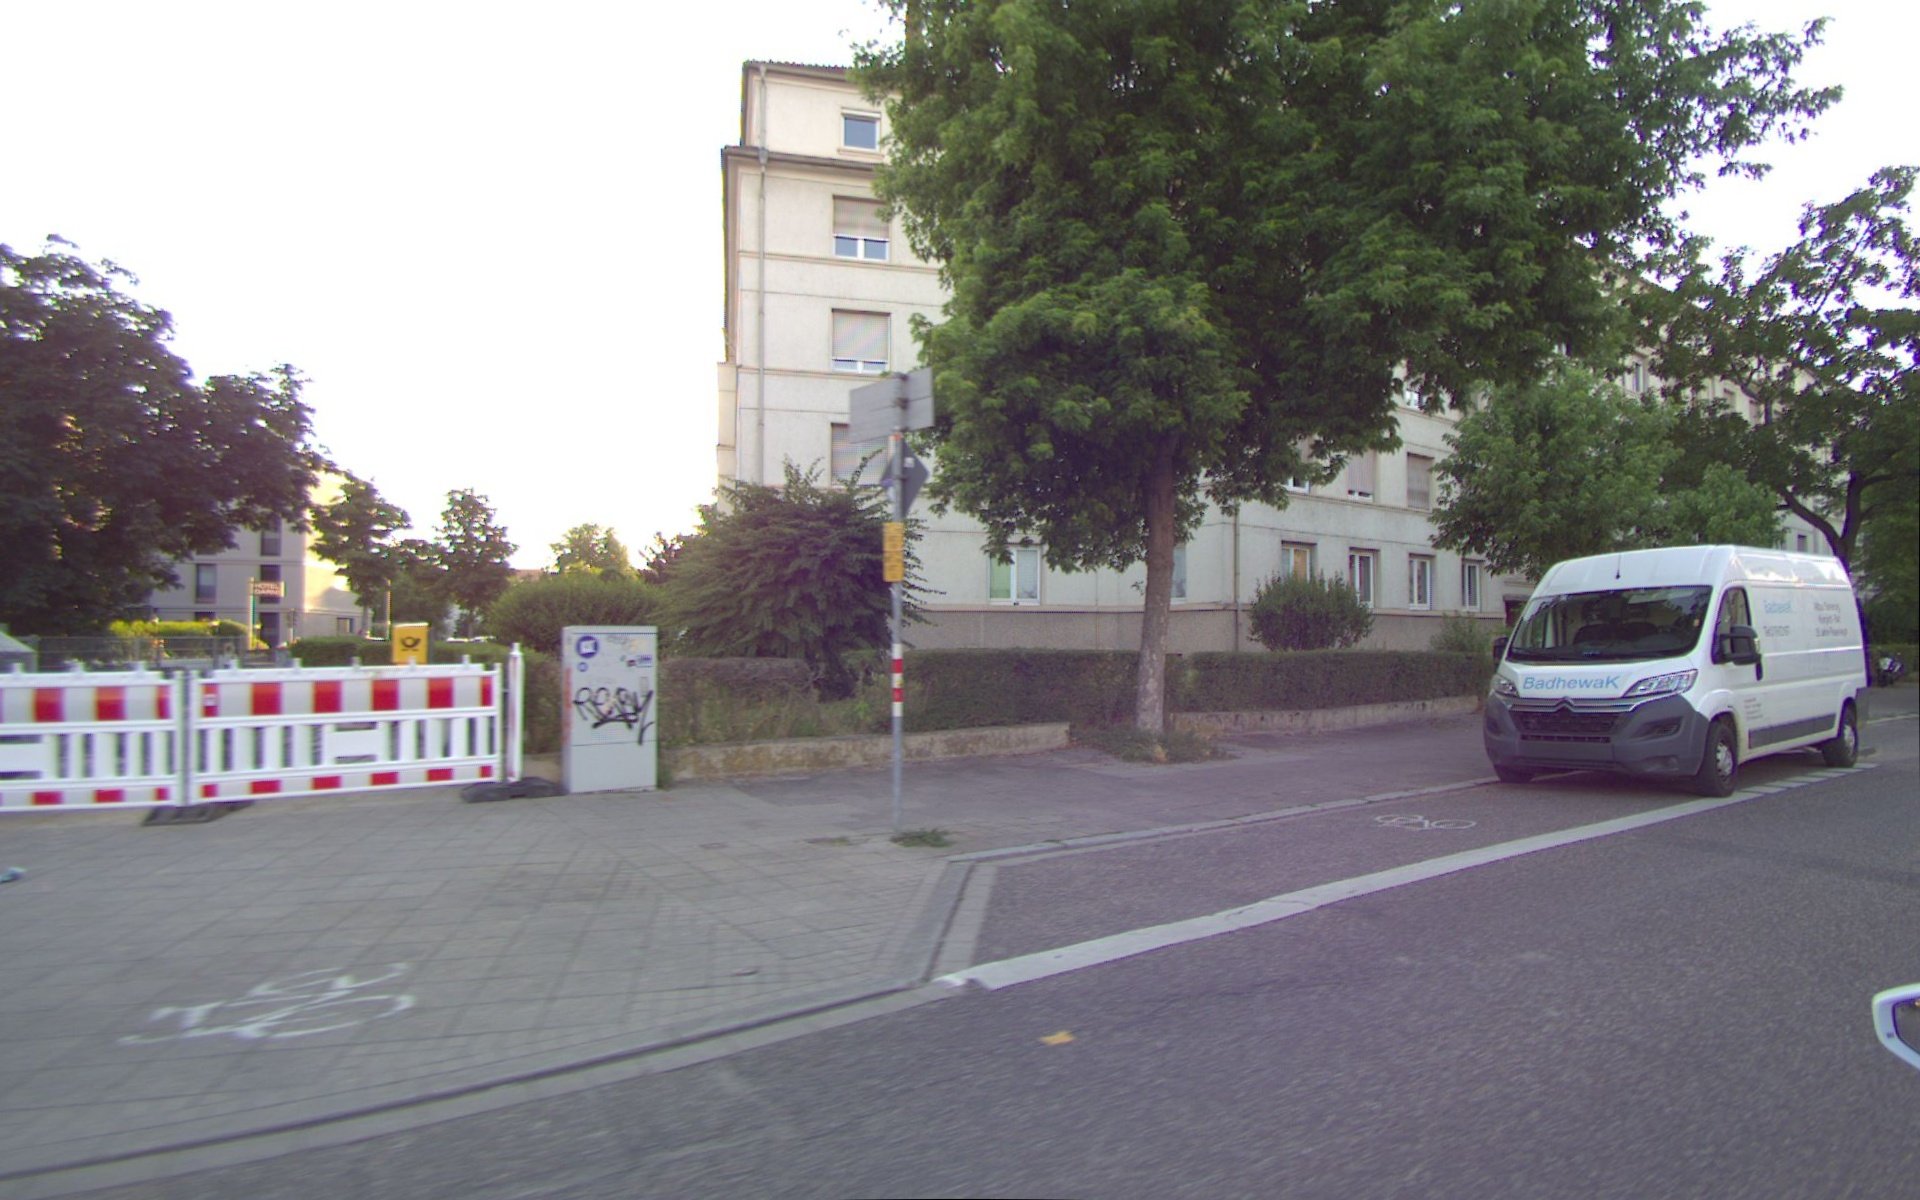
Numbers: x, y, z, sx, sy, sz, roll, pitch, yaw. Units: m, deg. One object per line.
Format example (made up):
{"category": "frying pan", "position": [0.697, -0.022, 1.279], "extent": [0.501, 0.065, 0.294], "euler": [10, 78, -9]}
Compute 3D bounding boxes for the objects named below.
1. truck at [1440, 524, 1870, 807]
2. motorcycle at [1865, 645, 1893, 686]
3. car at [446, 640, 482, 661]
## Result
{"category": "truck", "position": [8.032, 0.701, 11.340], "extent": [5.988, 2.454, 2.087], "euler": [2, -4, -36]}
{"category": "motorcycle", "position": [30.720, 2.173, 33.573], "extent": [1.284, 1.349, 0.409], "euler": [2, -3, -36]}
{"category": "car", "position": [-36.140, 3.671, 73.311], "extent": [1.593, 1.489, 3.985], "euler": [0, -3, -15]}
